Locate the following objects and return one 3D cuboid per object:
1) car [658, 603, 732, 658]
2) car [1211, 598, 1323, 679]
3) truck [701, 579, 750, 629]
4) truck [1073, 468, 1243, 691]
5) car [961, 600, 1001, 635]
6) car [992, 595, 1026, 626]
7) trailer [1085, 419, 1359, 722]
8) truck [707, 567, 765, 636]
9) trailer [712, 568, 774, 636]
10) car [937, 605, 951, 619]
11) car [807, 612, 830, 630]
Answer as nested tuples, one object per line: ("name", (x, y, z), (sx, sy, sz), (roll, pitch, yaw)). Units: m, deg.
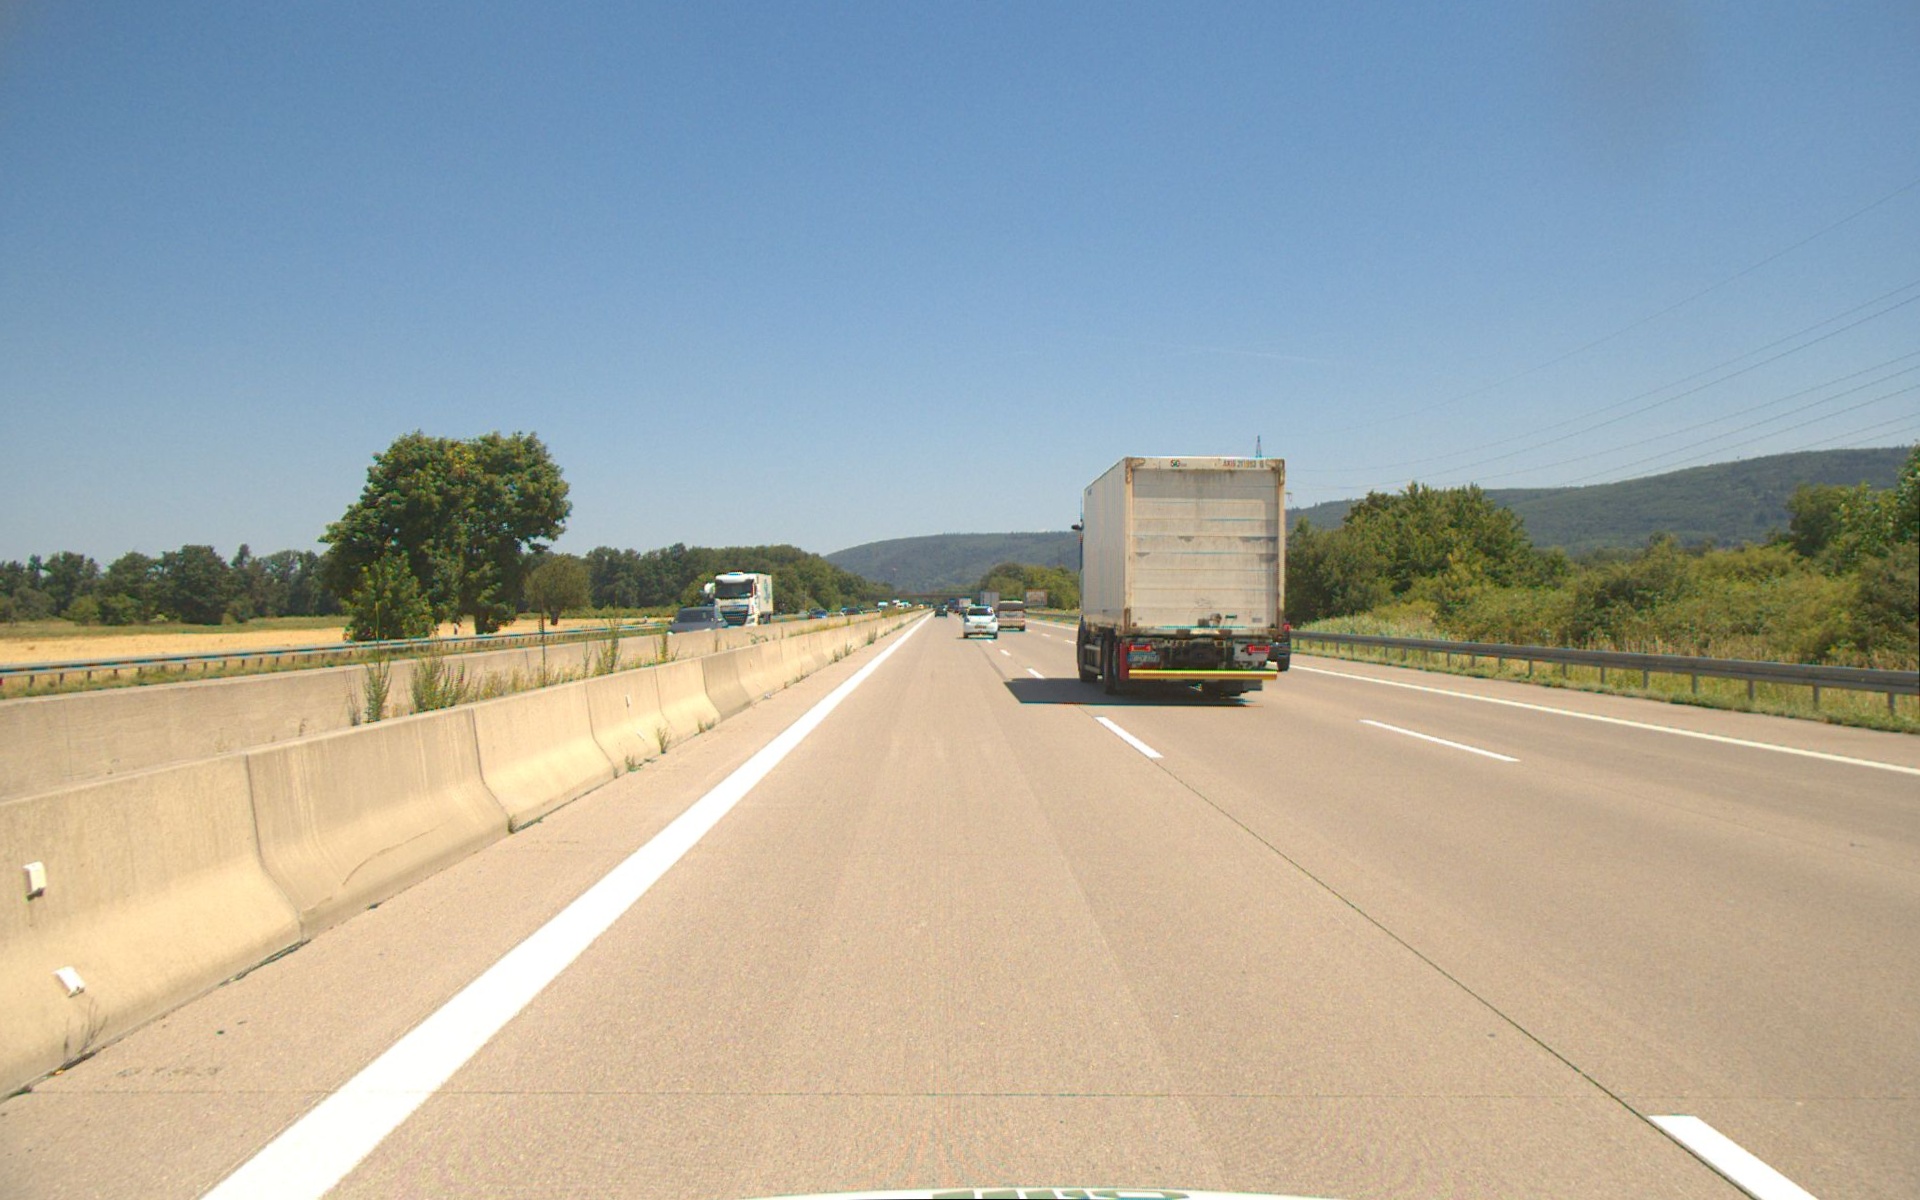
("car", (-8.945, 0.996, 56.103), (1.825, 1.759, 4.140), (1, 0, 0))
("car", (7.736, 0.929, 42.071), (1.953, 1.881, 3.999), (3, 0, -1))
("truck", (-17.977, 0.303, 126.994), (2.746, 3.752, 7.235), (1, 0, -1))
("truck", (3.707, -0.356, 31.996), (2.529, 3.945, 4.982), (1, 0, -2))
("car", (0.992, 0.836, 80.198), (1.782, 1.691, 3.999), (0, 0, -2))
("car", (3.150, 0.672, 106.912), (1.953, 1.881, 3.999), (1, 0, -1))
("trailer", (3.837, -0.368, 26.941), (2.528, 3.945, 10.370), (1, 0, -1))
("truck", (-13.423, 0.107, 99.570), (2.841, 4.039, 5.044), (1, 0, -1))
("trailer", (-13.493, 0.138, 103.292), (2.841, 4.039, 8.475), (1, 0, -1))
("car", (-2.234, 1.643, 230.852), (1.890, 1.825, 3.999), (1, 0, -1))
("car", (-14.855, 2.191, 173.847), (1.953, 1.747, 5.024), (1, 0, 0))
